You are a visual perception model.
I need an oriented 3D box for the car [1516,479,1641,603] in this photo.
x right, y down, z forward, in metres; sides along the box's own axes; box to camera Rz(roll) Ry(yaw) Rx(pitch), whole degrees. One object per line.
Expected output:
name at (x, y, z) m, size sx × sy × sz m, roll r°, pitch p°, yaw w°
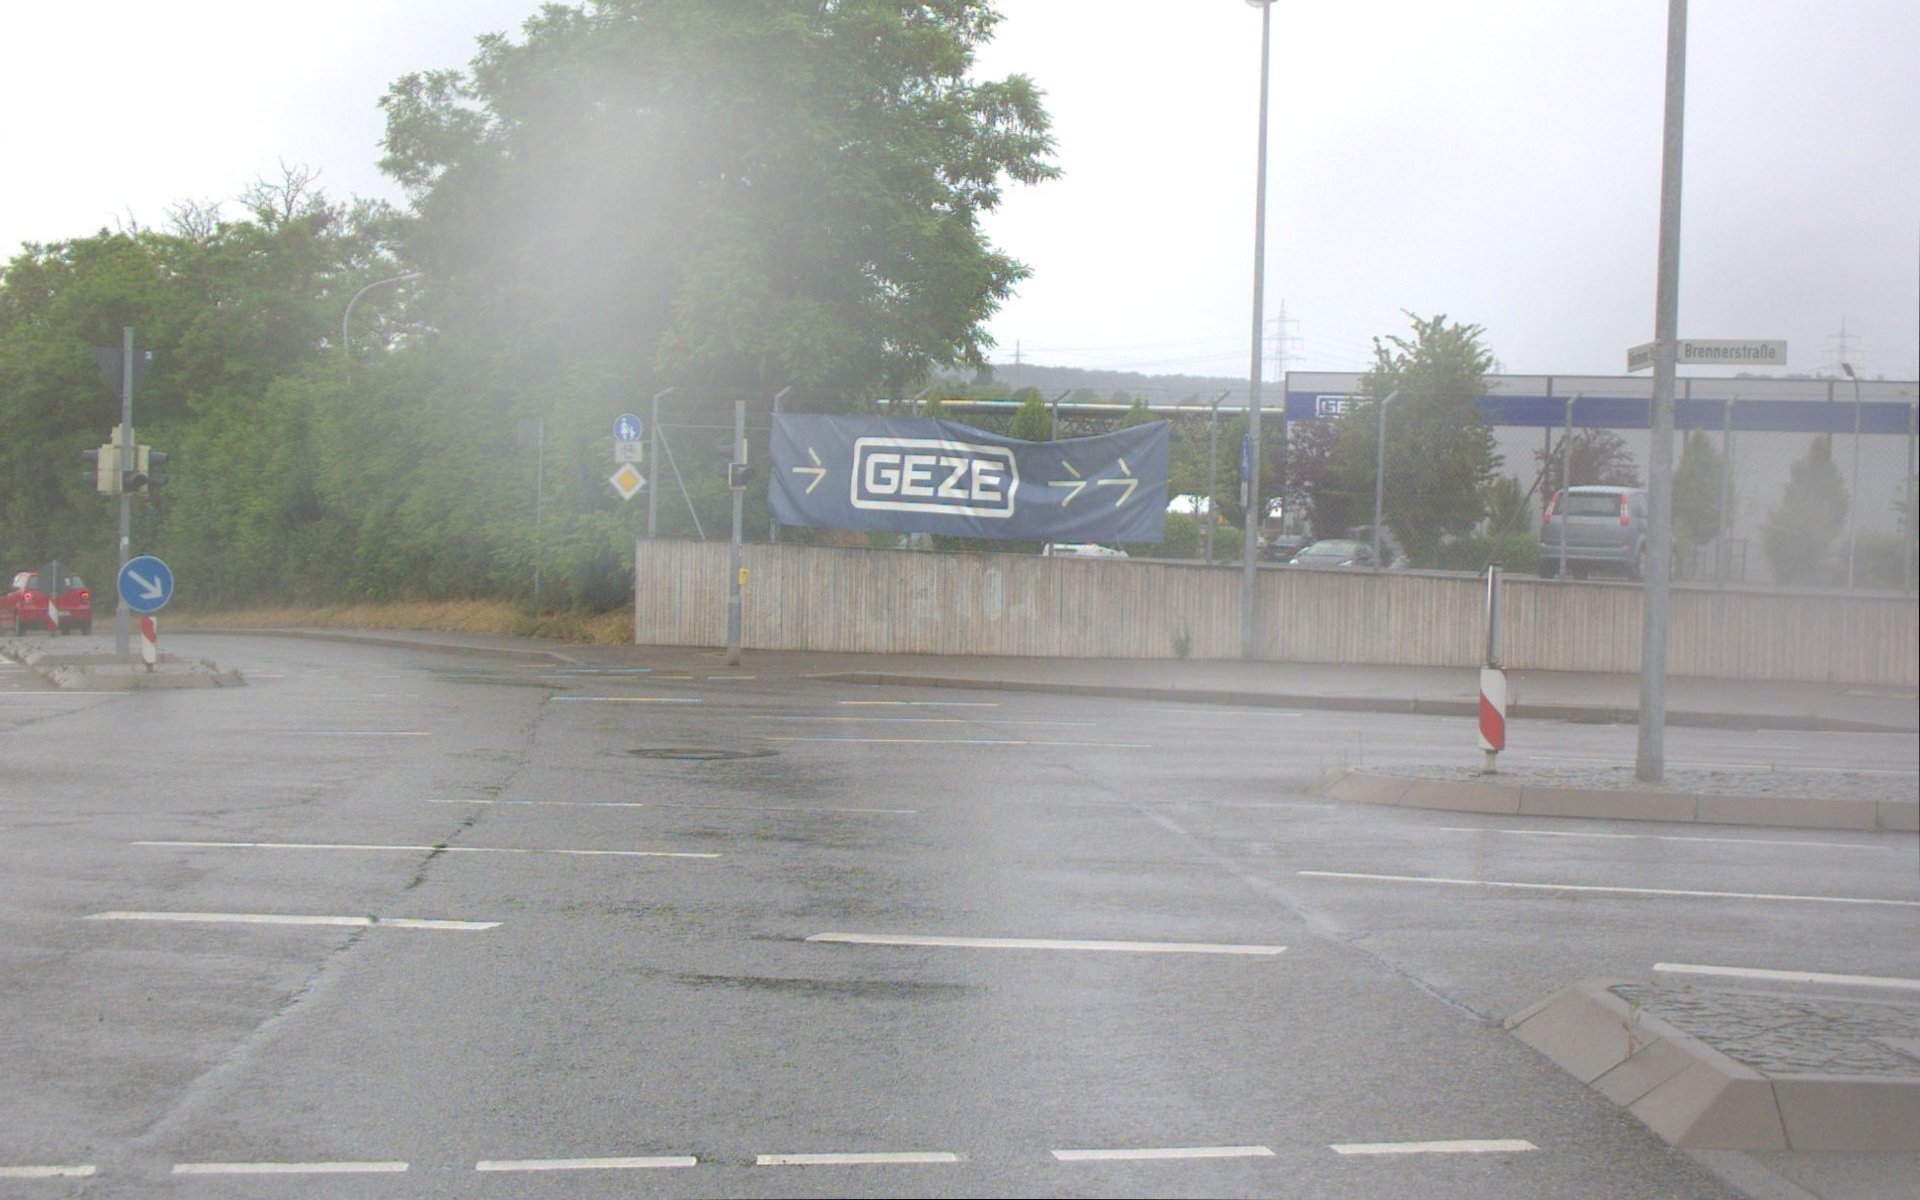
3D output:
car at (10.622, -1.016, 58.872) m, size 1.994 × 2.007 × 3.998 m, roll 2°, pitch 1°, yaw 11°

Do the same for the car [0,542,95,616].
car at (-20.491, -0.485, 76.811) m, size 1.614 × 1.443 × 3.808 m, roll 2°, pitch 2°, yaw -23°
